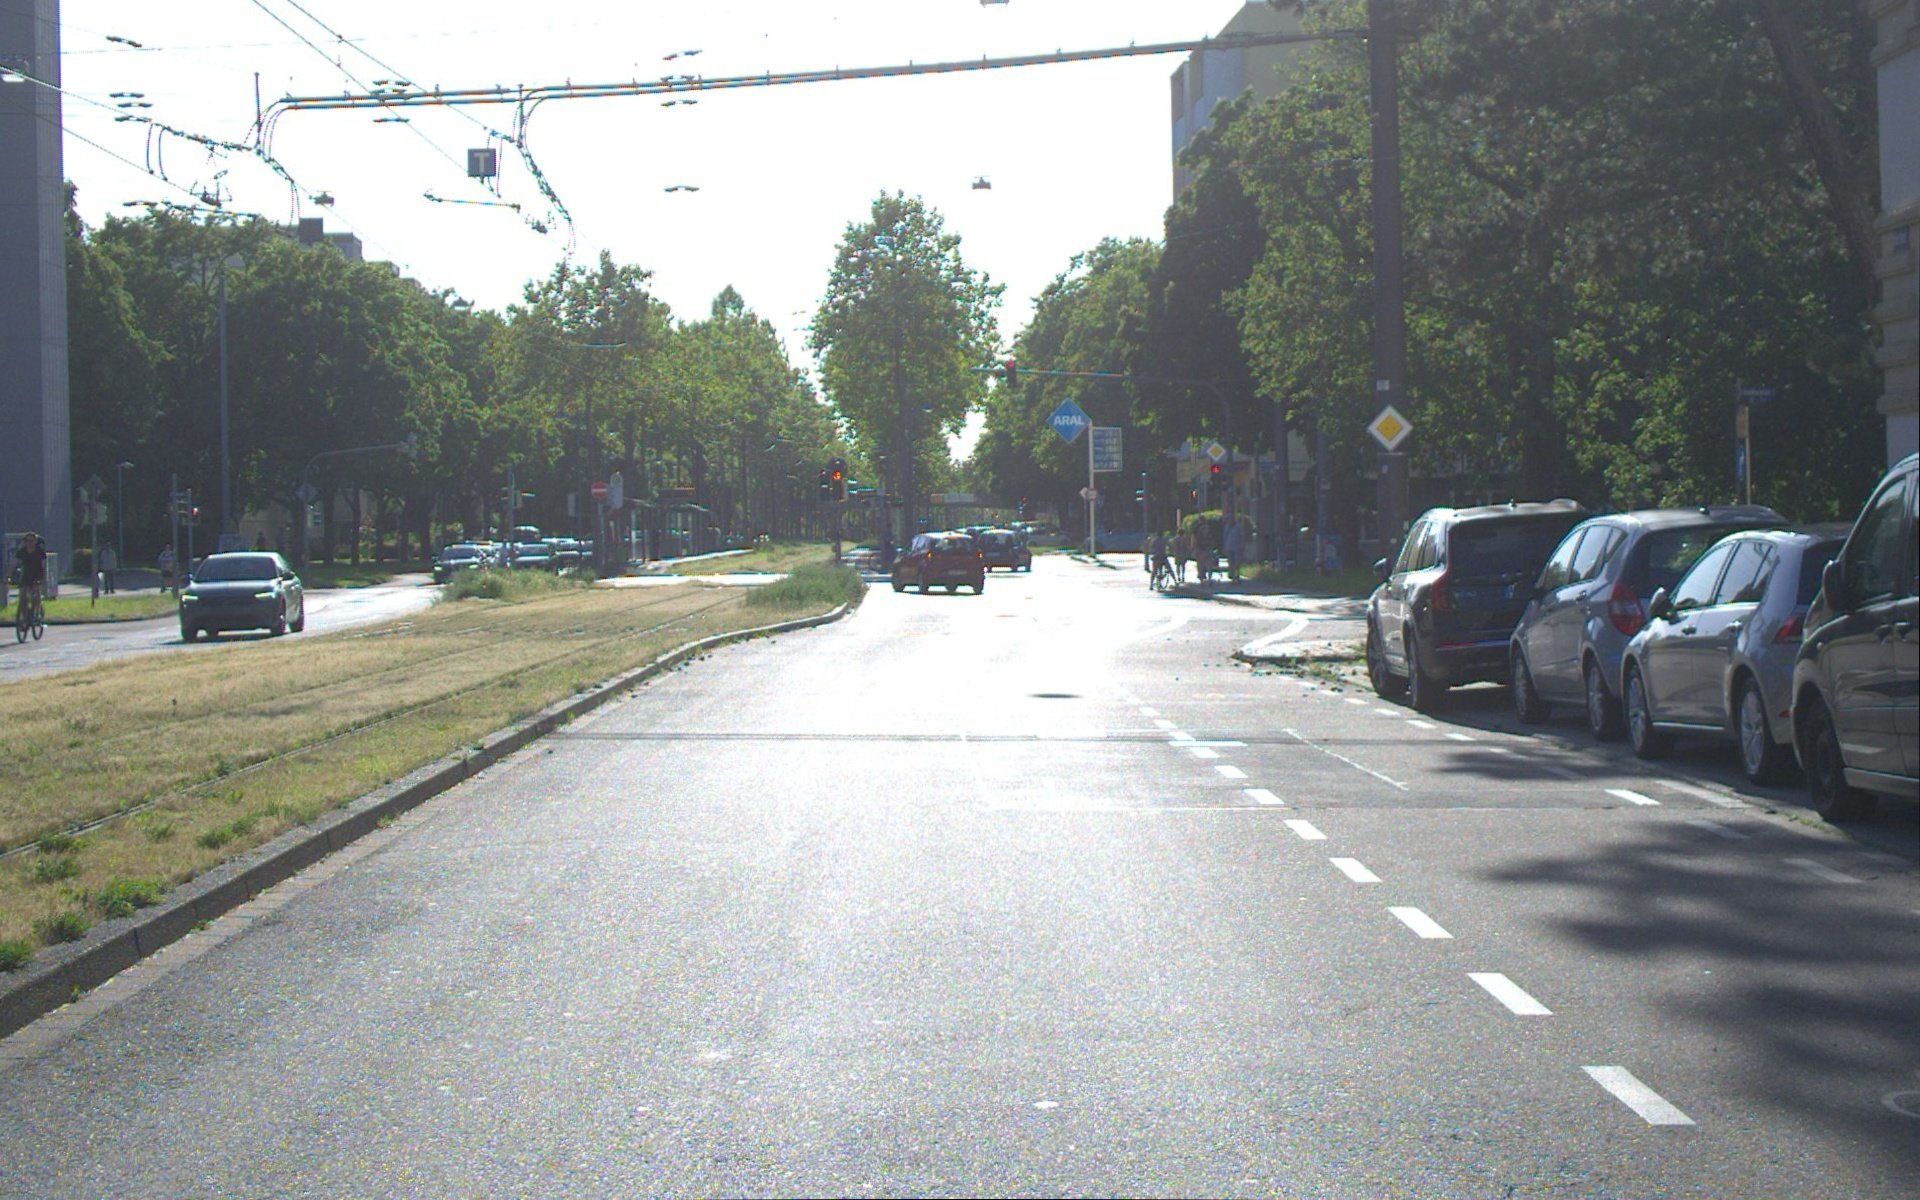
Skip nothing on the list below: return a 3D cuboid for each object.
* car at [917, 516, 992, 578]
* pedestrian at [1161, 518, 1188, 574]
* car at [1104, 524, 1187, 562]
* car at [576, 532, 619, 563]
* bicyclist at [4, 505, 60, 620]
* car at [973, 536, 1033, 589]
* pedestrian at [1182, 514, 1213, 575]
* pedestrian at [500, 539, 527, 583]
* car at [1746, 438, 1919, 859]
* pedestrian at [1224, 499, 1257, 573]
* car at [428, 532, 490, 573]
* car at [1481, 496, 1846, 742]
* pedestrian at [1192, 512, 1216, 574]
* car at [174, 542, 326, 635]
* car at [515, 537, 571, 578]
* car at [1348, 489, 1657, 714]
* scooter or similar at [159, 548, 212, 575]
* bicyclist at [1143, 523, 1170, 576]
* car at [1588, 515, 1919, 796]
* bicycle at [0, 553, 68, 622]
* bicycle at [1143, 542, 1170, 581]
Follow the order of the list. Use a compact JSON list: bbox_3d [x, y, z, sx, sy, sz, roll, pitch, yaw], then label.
[{"bbox_3d":[-0.155,-1.354,86.627,1.694,1.503,3.700,1,1,-3],"label":"car"},{"bbox_3d":[5.937,-1.503,95.318,0.647,1.517,0.496,2,1,12],"label":"pedestrian"},{"bbox_3d":[9.560,-2.947,176.911,3.989,1.853,2.011,2,1,10],"label":"car"},{"bbox_3d":[-16.701,-2.433,158.499,1.566,1.397,3.915,1,1,0],"label":"car"},{"bbox_3d":[-16.434,-0.662,60.878,0.773,2.007,0.648,1,1,0],"label":"bicyclist"},{"bbox_3d":[1.548,-1.403,126.127,1.968,1.853,4.001,1,1,-2],"label":"car"},{"bbox_3d":[6.587,-1.532,95.267,0.730,1.676,0.532,2,1,12],"label":"pedestrian"},{"bbox_3d":[-16.569,-1.456,127.613,0.891,1.601,0.613,1,1,0],"label":"pedestrian"},{"bbox_3d":[5.216,0.154,15.592,1.913,1.893,5.136,-4,1,-1],"label":"car"},{"bbox_3d":[6.990,-1.603,85.673,0.703,1.783,0.694,-3,2,5],"label":"pedestrian"},{"bbox_3d":[-19.635,-1.889,134.831,1.806,1.527,4.361,-1,1,0],"label":"car"},{"bbox_3d":[5.050,0.091,25.168,1.593,1.573,3.896,-3,1,-3],"label":"car"},{"bbox_3d":[6.088,-1.417,85.800,0.529,1.523,0.627,-2,1,5],"label":"pedestrian"},{"bbox_3d":[-12.271,-0.227,59.619,1.694,1.443,4.217,-2,1,0],"label":"car"},{"bbox_3d":[-16.476,-1.693,135.961,1.687,1.527,4.361,-1,1,0],"label":"car"},{"bbox_3d":[4.709,-0.042,30.519,1.879,1.711,4.934,-4,1,0],"label":"car"},{"bbox_3d":[-26.607,-1.325,118.041,1.734,0.896,0.563,-1,1,-16],"label":"scooter or similar"},{"bbox_3d":[5.013,-1.287,87.764,0.638,1.318,0.803,1,1,2],"label":"bicyclist"},{"bbox_3d":[5.074,0.254,20.760,1.510,1.473,4.239,-3,1,-3],"label":"car"},{"bbox_3d":[-16.508,-0.227,60.811,0.768,1.142,2.475,-3,1,0],"label":"bicycle"},{"bbox_3d":[5.016,-0.994,87.831,0.648,0.969,1.803,1,1,2],"label":"bicycle"}]
